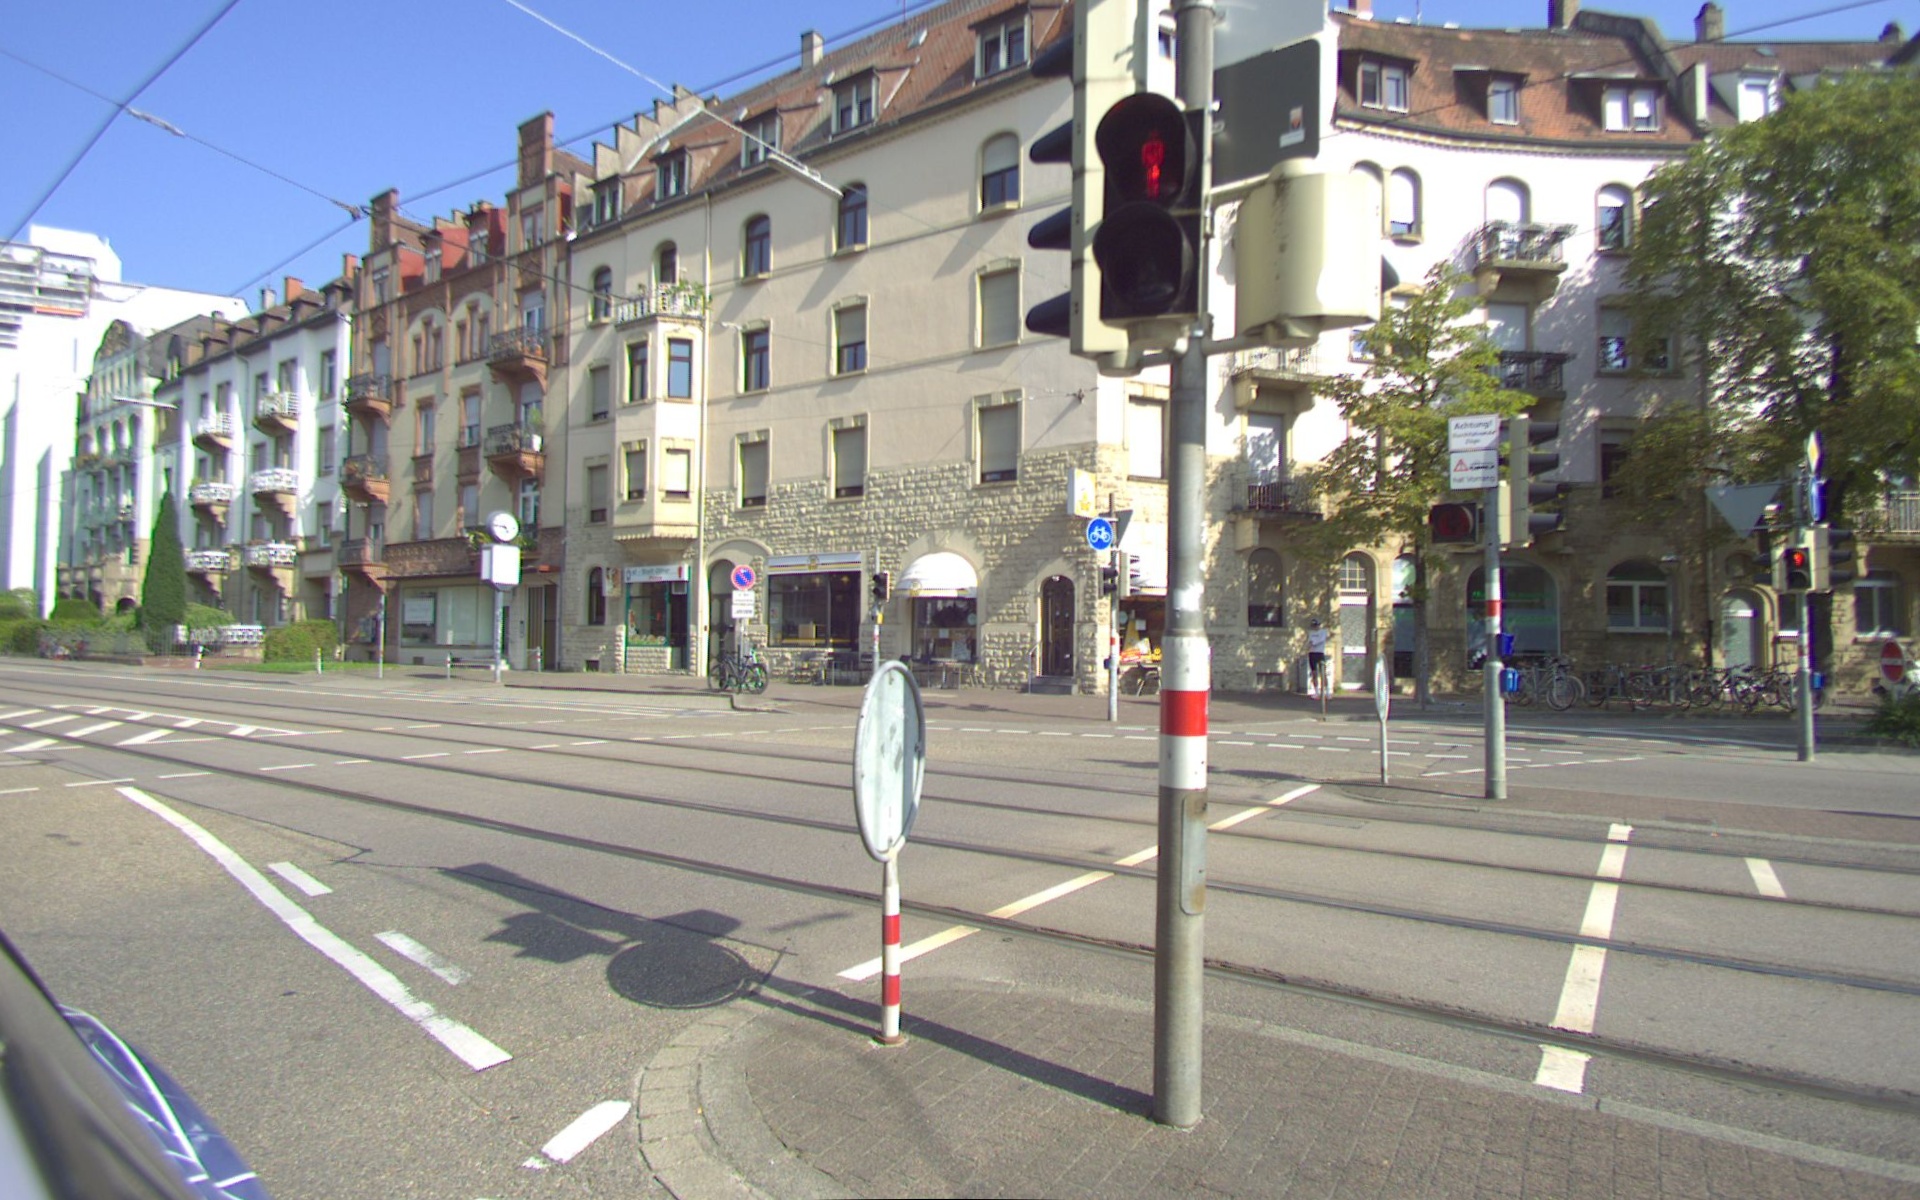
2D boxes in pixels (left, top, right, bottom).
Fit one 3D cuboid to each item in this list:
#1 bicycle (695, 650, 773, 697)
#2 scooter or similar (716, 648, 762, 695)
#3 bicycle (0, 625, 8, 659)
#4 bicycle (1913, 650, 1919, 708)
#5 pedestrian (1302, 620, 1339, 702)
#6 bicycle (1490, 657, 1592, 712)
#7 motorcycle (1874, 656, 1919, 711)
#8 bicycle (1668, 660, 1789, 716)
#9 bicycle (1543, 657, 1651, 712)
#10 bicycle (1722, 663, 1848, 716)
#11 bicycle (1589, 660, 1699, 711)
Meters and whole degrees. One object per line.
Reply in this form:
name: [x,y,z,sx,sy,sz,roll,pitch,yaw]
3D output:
bicycle: [-5.548,1.786,24.822,1.883,1.112,0.541,-1,-3,22]
scooter or similar: [-5.582,1.792,25.595,1.079,1.167,0.442,0,-3,-2]
bicycle: [-55.141,2.368,57.158,3.540,1.872,1.006,-1,-1,29]
bicycle: [23.054,1.858,23.289,0.862,1.381,2.285,-1,-3,23]
pedestrian: [8.442,1.412,23.711,0.670,1.882,0.728,-1,-3,31]
bicycle: [13.040,1.874,22.813,0.686,1.087,2.345,1,-2,-8]
motorcycle: [22.161,1.925,23.529,0.672,1.186,1.872,0,-1,19]
bicycle: [17.166,1.938,22.703,0.686,1.087,2.345,1,-1,-8]
bicycle: [14.241,1.869,22.724,0.686,1.087,2.345,1,-1,-8]
bicycle: [18.630,2.002,22.942,0.686,1.087,2.345,1,-3,-8]
bicycle: [15.696,1.937,23.313,0.686,1.087,2.345,1,-3,-8]
